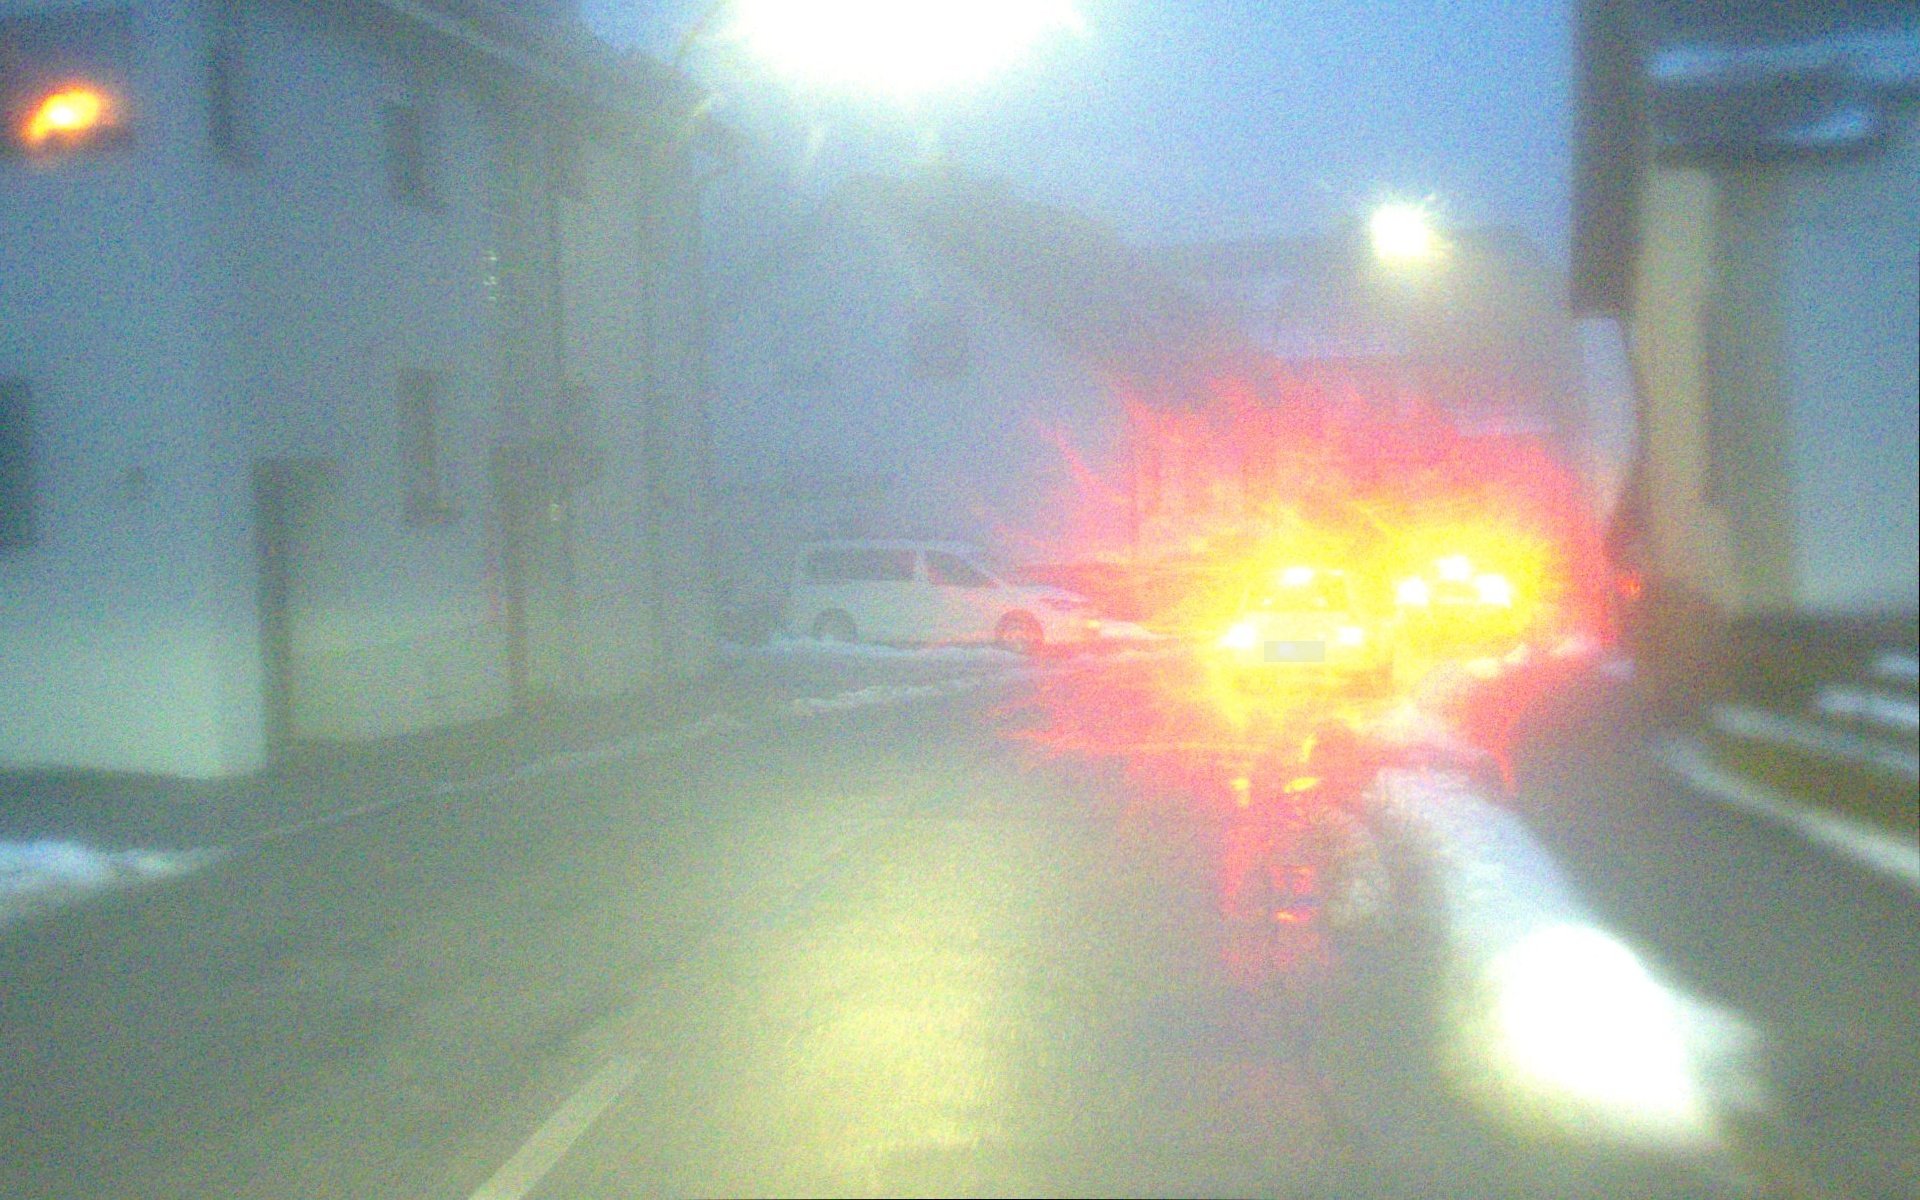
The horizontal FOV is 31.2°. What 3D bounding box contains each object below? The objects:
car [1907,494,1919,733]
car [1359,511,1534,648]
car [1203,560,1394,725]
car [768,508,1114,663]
[{"bbox_3d":[7.815,0.133,20.348,3.987,1.448,1.714,0,4,5],"label":"car"},{"bbox_3d":[7.863,-0.362,55.300,1.995,1.831,3.997,-3,3,19],"label":"car"},{"bbox_3d":[4.024,0.455,40.357,1.994,1.502,4.000,-4,3,8],"label":"car"},{"bbox_3d":[-0.288,-0.217,52.294,4.737,2.006,1.998,-3,3,21],"label":"car"}]
